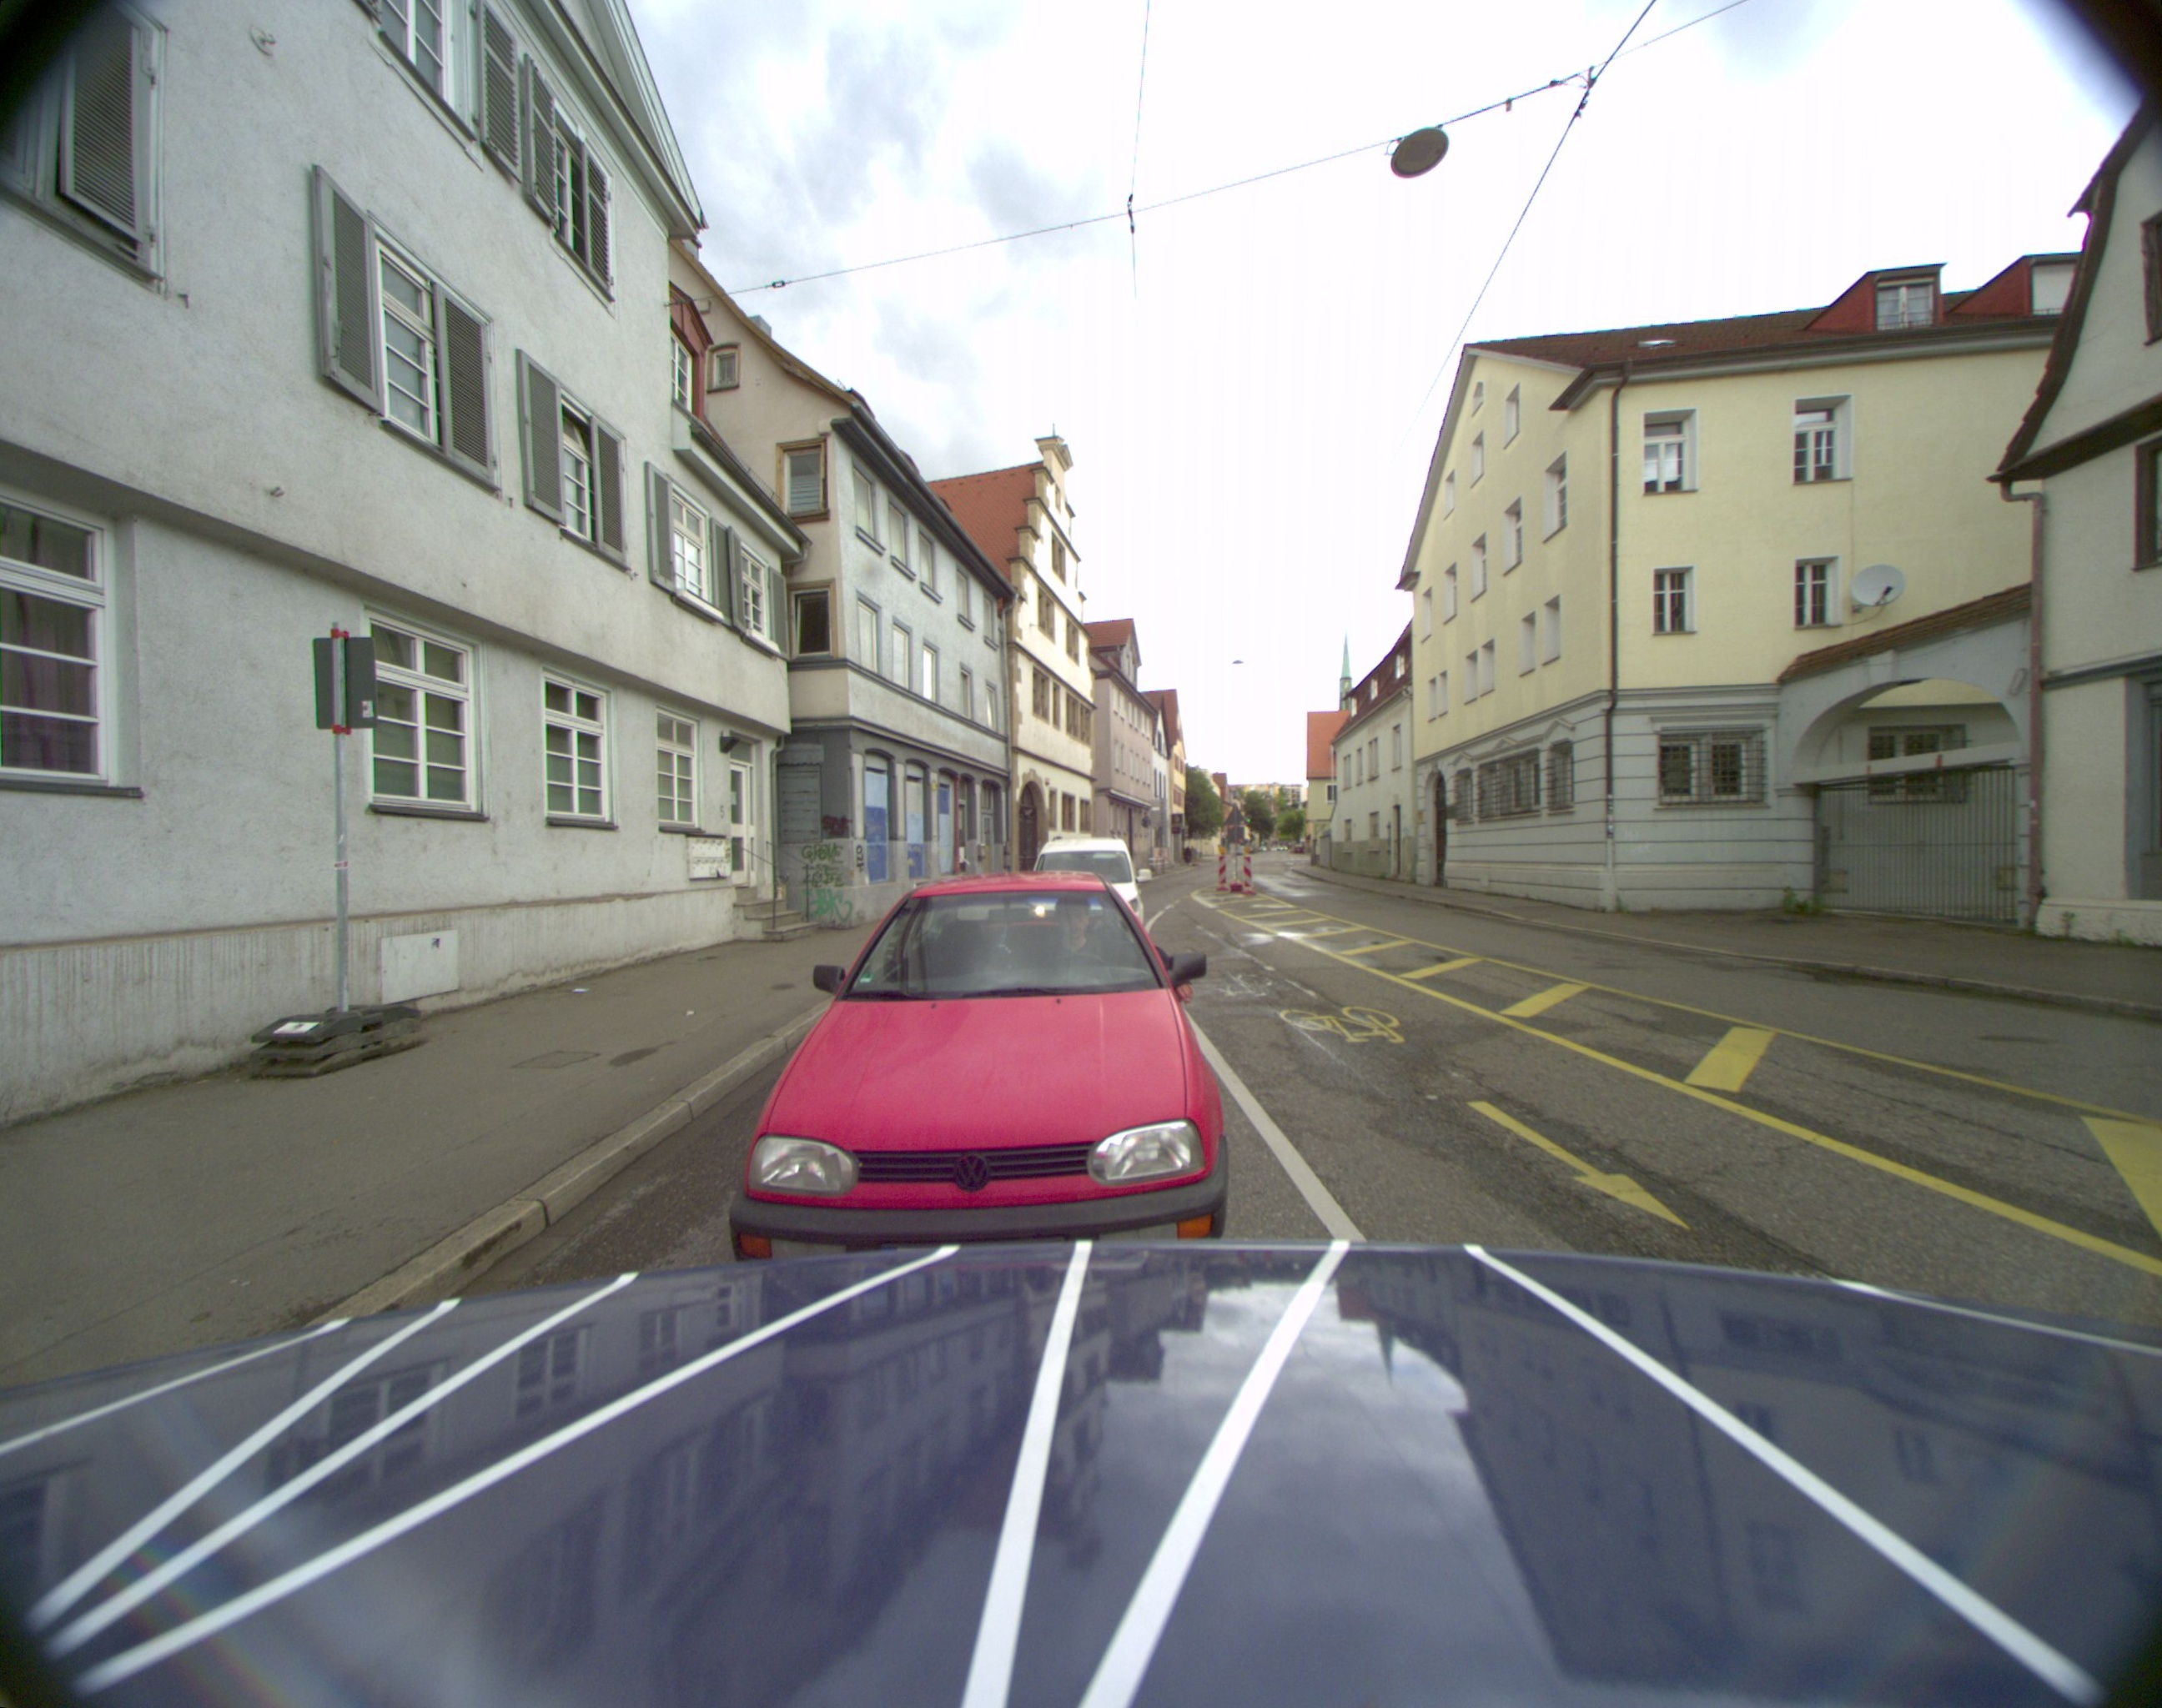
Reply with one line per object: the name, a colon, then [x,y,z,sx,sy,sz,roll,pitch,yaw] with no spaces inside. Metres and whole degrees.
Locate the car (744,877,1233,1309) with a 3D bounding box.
car: [-0.330,0.987,4.937,1.804,1.458,4.000,-4,0,1]

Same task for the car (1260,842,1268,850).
car: [48.486,-2.113,201.285,1.996,2.002,4.004,-1,0,13]

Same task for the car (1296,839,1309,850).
car: [42.734,-1.781,146.581,2.057,2.002,4.004,-1,0,13]

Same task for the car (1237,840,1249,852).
car: [28.461,-1.348,133.501,1.996,2.002,4.004,-1,0,13]

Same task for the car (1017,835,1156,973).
car: [0.102,0.668,12.151,1.804,1.781,4.349,-1,0,1]

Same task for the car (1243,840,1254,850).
car: [34.046,-1.761,154.265,1.996,2.002,4.004,-1,0,13]

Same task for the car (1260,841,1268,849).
car: [44.965,-2.162,186.812,1.996,2.002,4.004,-1,0,13]

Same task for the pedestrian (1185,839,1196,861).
pedestrian: [9.363,-0.325,64.893,0.877,1.888,0.898,-1,0,14]
